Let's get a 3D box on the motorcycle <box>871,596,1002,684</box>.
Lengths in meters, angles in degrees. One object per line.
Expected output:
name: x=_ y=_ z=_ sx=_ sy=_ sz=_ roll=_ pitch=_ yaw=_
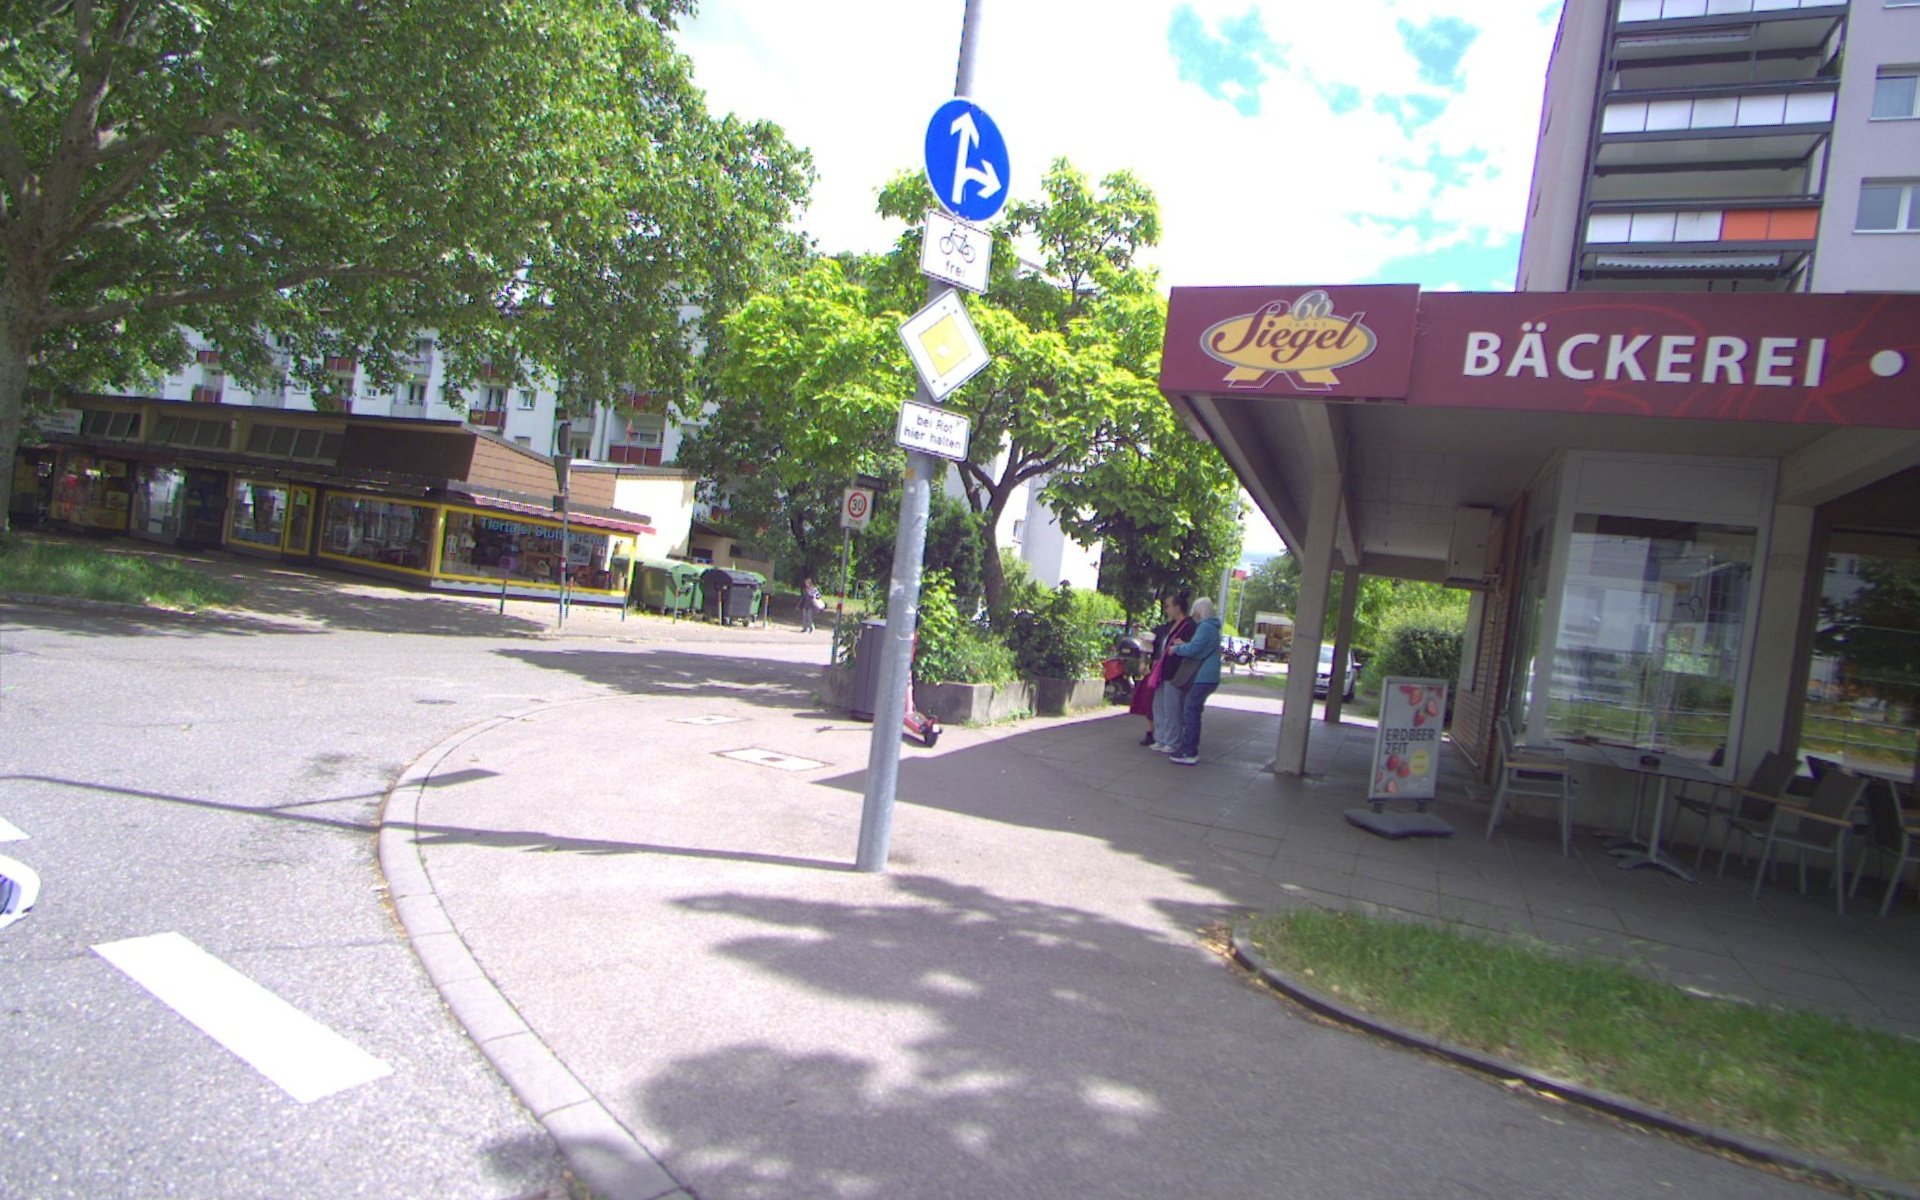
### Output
motorcycle: x=-0.344 y=0.660 z=16.022 sx=0.729 sy=1.210 sz=2.128 roll=7 pitch=1 yaw=41

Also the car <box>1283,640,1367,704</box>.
car: x=10.124 y=1.966 z=27.787 sx=1.718 sy=1.456 sz=3.486 roll=7 pitch=0 yaw=25

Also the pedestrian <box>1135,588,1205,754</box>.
pedestrian: x=2.163 y=0.721 z=10.383 sx=0.393 sy=1.653 sz=0.443 roll=6 pitch=1 yaw=-9

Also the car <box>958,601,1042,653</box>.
car: x=1.446 y=0.977 z=34.965 sx=1.626 sy=1.505 sz=3.466 roll=7 pitch=0 yaw=24

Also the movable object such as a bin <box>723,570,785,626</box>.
movable object such as a bin: x=-6.068 y=-0.059 z=29.654 sx=1.124 sy=1.431 sz=1.183 roll=10 pitch=3 yaw=29

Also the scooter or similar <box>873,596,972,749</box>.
scooter or similar: x=-0.390 y=0.668 z=9.772 sx=0.372 sy=1.324 sz=1.224 roll=6 pitch=1 yaw=-25

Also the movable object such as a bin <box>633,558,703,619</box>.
movable object such as a bin: x=-7.911 y=-0.311 z=27.307 sx=1.191 sy=1.431 sz=1.177 roll=10 pitch=3 yaw=29

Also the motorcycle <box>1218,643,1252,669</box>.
motorcycle: x=12.853 y=2.606 z=46.997 sx=1.327 sy=1.029 sz=0.525 roll=7 pitch=1 yaw=31

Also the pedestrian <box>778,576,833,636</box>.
pedestrian: x=-4.405 y=0.177 z=28.654 sx=1.082 sy=1.494 sz=0.809 roll=11 pitch=3 yaw=28

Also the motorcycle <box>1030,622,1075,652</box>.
motorcycle: x=3.636 y=1.450 z=39.649 sx=1.596 sy=1.004 sz=0.454 roll=7 pitch=1 yaw=28

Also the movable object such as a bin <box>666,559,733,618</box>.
movable object such as a bin: x=-7.346 y=-0.318 z=28.402 sx=1.191 sy=1.431 sz=1.177 roll=10 pitch=3 yaw=29

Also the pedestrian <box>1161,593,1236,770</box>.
pedestrian: x=2.325 y=0.780 z=9.820 sx=0.393 sy=1.653 sz=0.443 roll=6 pitch=1 yaw=-9

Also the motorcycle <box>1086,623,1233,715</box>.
motorcycle: x=3.208 y=1.116 z=16.220 sx=2.104 sy=1.210 sz=0.738 roll=7 pitch=1 yaw=-14

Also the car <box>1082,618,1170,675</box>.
car: x=5.137 y=1.434 z=30.743 sx=1.609 sy=1.456 sz=3.486 roll=7 pitch=0 yaw=25

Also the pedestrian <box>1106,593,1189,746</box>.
pedestrian: x=2.027 y=0.743 z=10.895 sx=0.505 sy=1.571 sz=0.529 roll=6 pitch=1 yaw=-26

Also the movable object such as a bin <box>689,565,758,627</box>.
movable object such as a bin: x=-6.315 y=-0.096 z=26.895 sx=1.124 sy=1.431 sz=1.183 roll=10 pitch=3 yaw=29
